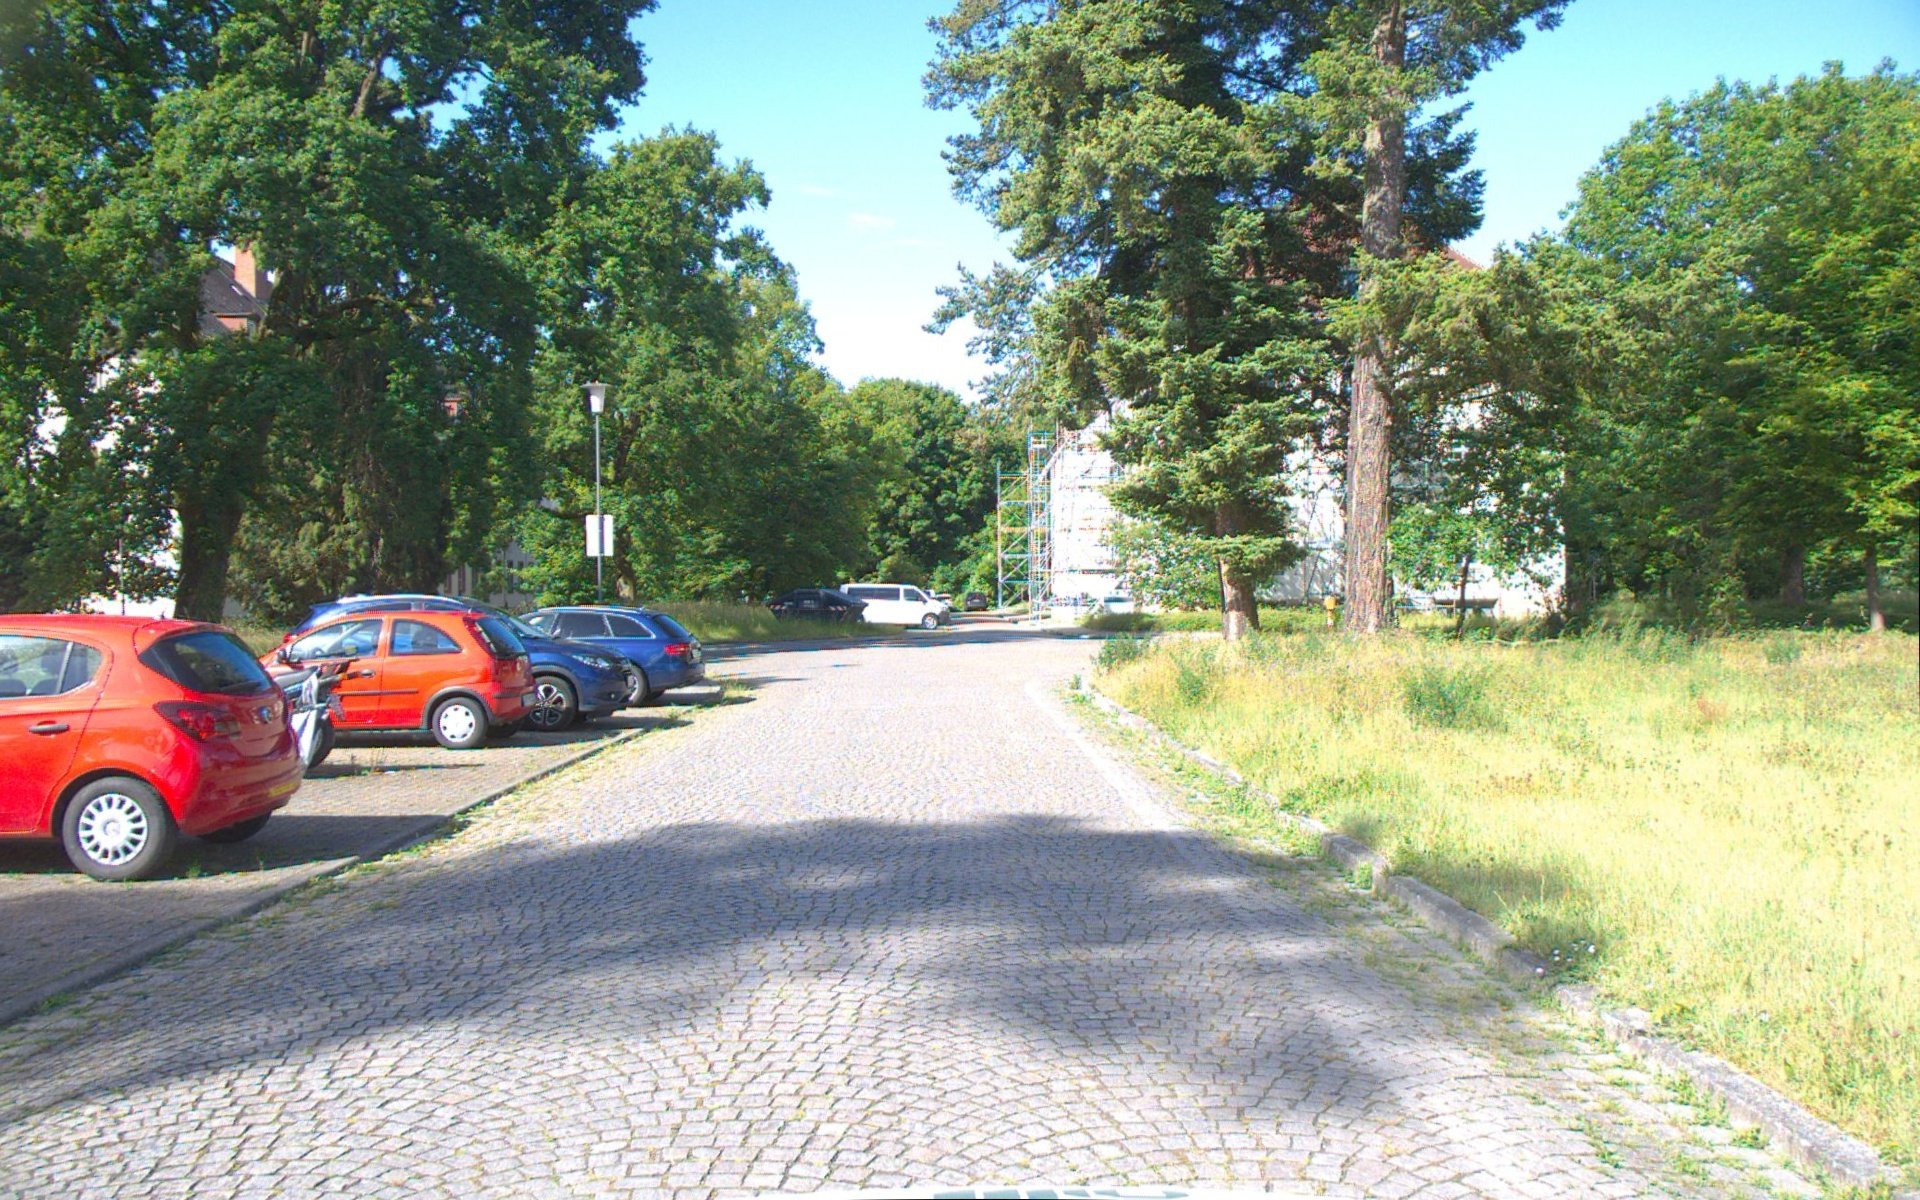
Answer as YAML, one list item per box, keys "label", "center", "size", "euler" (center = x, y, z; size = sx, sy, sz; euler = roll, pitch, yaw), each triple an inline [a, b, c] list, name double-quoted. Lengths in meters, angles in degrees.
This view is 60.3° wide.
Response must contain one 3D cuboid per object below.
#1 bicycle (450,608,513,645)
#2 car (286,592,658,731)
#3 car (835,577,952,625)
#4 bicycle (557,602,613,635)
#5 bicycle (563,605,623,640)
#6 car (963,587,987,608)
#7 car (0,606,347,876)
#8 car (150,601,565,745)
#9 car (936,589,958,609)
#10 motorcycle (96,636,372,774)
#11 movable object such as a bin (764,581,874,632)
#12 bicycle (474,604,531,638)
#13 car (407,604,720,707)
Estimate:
- label: "bicycle"
  center: [-15.524, 0.857, 53.673]
  size: [1.889, 1.122, 0.566]
  euler: [-2, 2, -26]
- label: "car"
  center: [-5.938, 0.722, 20.500]
  size: [4.051, 1.607, 1.884]
  euler: [0, 1, -1]
- label: "car"
  center: [-2.964, 0.036, 74.117]
  size: [5.128, 2.051, 1.949]
  euler: [-1, 0, -2]
- label: "bicycle"
  center: [-13.469, 0.671, 59.437]
  size: [1.886, 1.076, 0.473]
  euler: [-3, 1, -22]
- label: "bicycle"
  center: [-12.214, 0.740, 55.063]
  size: [1.888, 1.076, 0.472]
  euler: [-3, 1, -24]
- label: "car"
  center: [1.274, -0.212, 140.506]
  size: [1.931, 1.697, 4.085]
  euler: [-1, 0, -1]
- label: "car"
  center: [-6.050, 0.799, 10.215]
  size: [3.844, 1.486, 1.841]
  euler: [0, 1, -3]
- label: "car"
  center: [-6.477, 0.756, 18.094]
  size: [3.842, 1.458, 1.842]
  euler: [0, 1, 0]
- label: "car"
  center: [-1.077, -0.109, 140.163]
  size: [1.775, 1.607, 4.134]
  euler: [-1, 0, -1]
- label: "motorcycle"
  center: [-6.429, 0.923, 14.702]
  size: [2.196, 1.182, 0.577]
  euler: [0, 0, 0]
- label: "movable object such as a bin"
  center: [-5.191, 0.237, 60.981]
  size: [3.490, 1.775, 2.026]
  euler: [-1, 0, 18]
- label: "bicycle"
  center: [-16.104, 0.738, 58.201]
  size: [1.885, 1.122, 0.567]
  euler: [-1, 1, -20]
- label: "car"
  center: [-5.950, 0.813, 25.183]
  size: [4.269, 1.470, 1.921]
  euler: [0, 1, 2]
